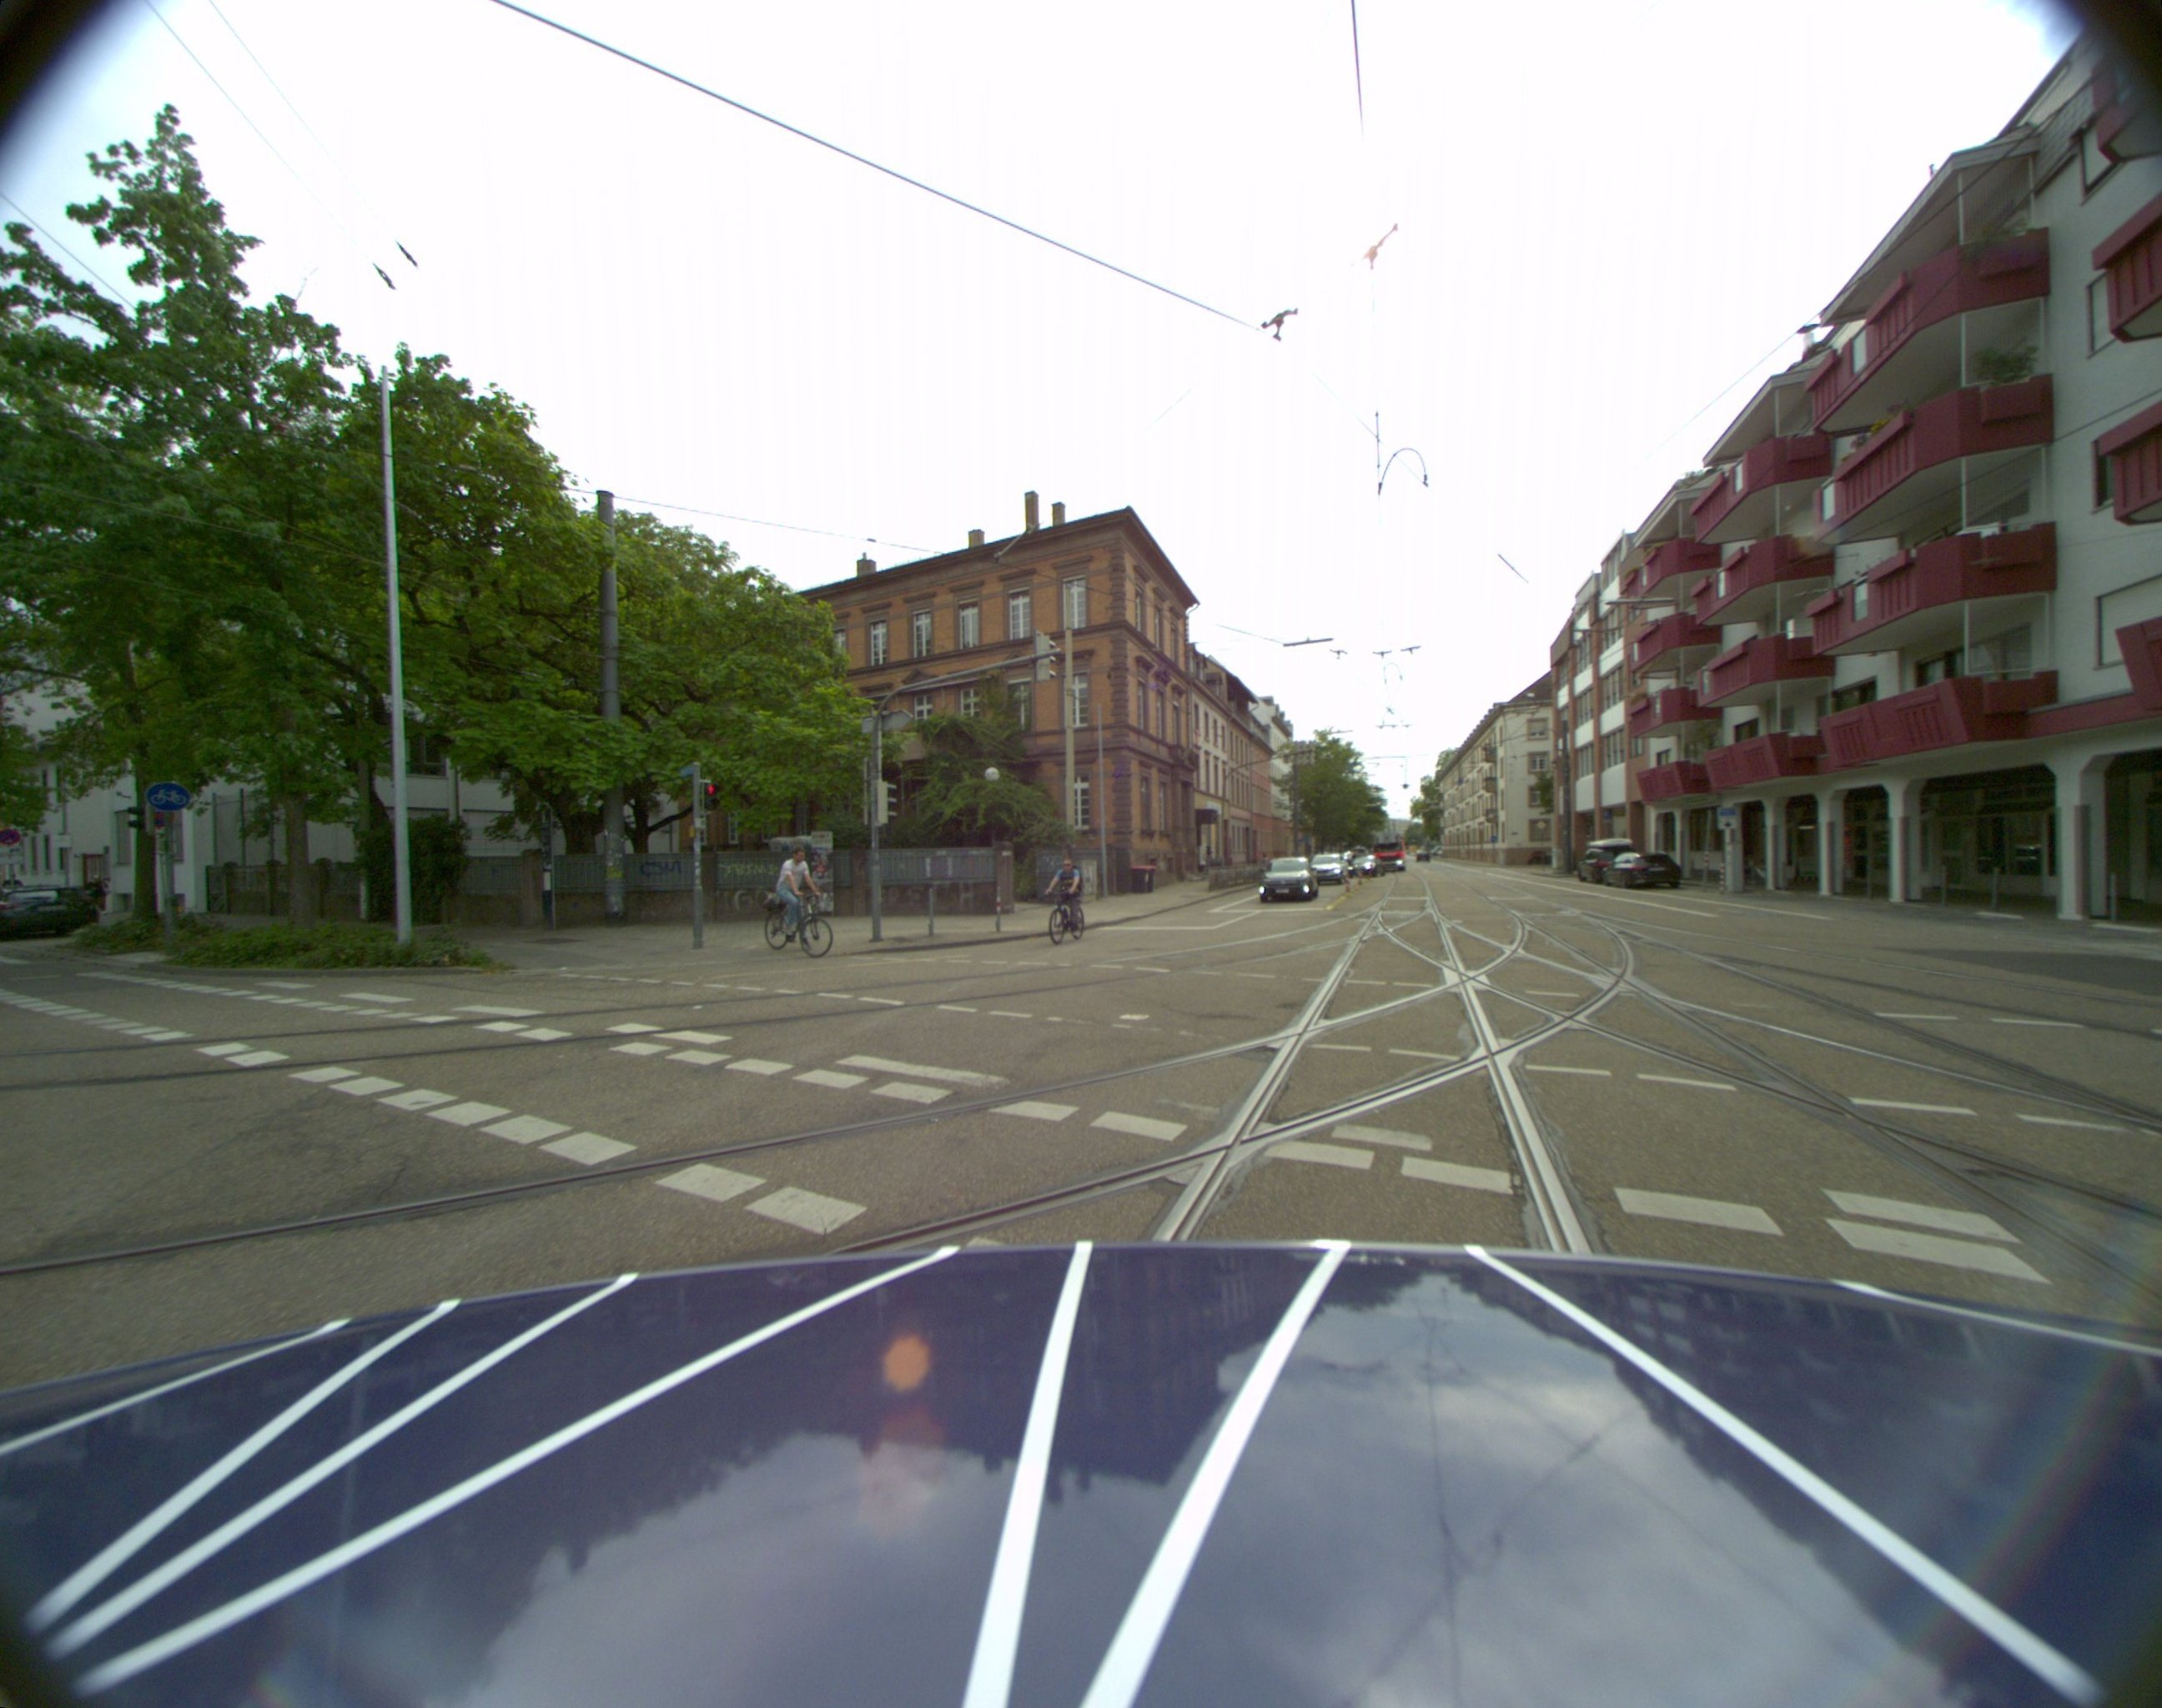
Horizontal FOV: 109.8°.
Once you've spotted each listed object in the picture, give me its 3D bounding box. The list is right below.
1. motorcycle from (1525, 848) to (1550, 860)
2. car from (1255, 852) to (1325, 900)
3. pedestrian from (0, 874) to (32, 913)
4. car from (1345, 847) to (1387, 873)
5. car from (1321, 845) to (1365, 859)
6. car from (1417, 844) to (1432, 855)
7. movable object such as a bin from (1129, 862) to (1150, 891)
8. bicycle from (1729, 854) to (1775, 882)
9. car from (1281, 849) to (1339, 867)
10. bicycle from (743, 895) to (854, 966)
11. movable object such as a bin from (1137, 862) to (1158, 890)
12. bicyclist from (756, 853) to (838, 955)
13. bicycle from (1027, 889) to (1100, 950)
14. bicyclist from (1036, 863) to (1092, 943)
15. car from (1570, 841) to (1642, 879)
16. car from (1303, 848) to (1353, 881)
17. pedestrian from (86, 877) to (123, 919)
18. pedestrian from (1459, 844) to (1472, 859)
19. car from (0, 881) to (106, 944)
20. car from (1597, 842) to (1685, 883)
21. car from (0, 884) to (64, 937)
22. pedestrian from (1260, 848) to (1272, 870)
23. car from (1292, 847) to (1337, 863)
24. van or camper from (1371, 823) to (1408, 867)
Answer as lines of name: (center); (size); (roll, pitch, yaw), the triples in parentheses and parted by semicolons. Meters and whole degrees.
motorcycle: (42.519, -0.043, 70.756); (1.921, 1.080, 0.794); (-1, 1, 23)
car: (7.711, 0.751, 27.715); (1.770, 1.538, 4.289); (-3, 0, 24)
pedestrian: (-50.582, 1.862, 36.088); (0.764, 1.771, 0.770); (-1, 1, 29)
car: (18.864, 0.357, 50.191); (1.770, 1.526, 4.056); (-3, 0, 33)
car: (31.420, -0.261, 91.285); (4.626, 1.688, 1.916); (0, 0, -1)
car: (47.286, -0.623, 104.732); (1.770, 1.528, 4.055); (-3, 0, 24)
movable object such as a bin: (2.372, 0.901, 30.584); (0.651, 1.076, 0.678); (3, 3, 19)
bicycle: (24.099, 0.504, 27.308); (0.565, 0.948, 1.652); (-1, 0, 16)
car: (20.074, 0.342, 66.708); (4.626, 1.464, 1.789); (0, 0, -1)
bicycle: (-5.124, 1.349, 13.749); (2.010, 1.080, 0.752); (1, 1, 29)
movable object such as a bin: (2.717, 0.886, 31.215); (0.664, 1.076, 0.702); (3, 3, 19)
bicyclist: (-5.137, 0.862, 13.739); (1.249, 1.751, 0.749); (1, 2, 28)
bicycle: (-0.311, 1.280, 15.081); (0.713, 1.012, 1.803); (-5, -1, 22)
bicyclist: (-0.321, 0.954, 15.104); (0.714, 1.498, 0.920); (-4, -1, 21)
car: (25.085, 0.237, 36.465); (1.808, 1.637, 4.705); (-3, -1, 22)
car: (13.332, 0.513, 40.825); (1.770, 1.581, 4.289); (-3, 0, 28)
pedestrian: (-39.916, 1.782, 31.062); (0.764, 1.641, 0.770); (-1, 1, 29)
pedestrian: (47.672, -0.361, 94.182); (1.001, 1.831, 1.019); (-1, 1, -4)
car: (-29.729, 1.598, 21.574); (4.409, 1.552, 1.740); (-1, 0, 28)
car: (22.839, 0.306, 31.162); (1.756, 1.471, 4.705); (-3, -1, 22)
car: (-34.134, 1.758, 23.979); (4.409, 1.527, 1.763); (-1, 0, 28)
pedestrian: (14.866, 0.375, 60.920); (0.731, 1.679, 0.928); (3, 2, 22)
car: (24.605, 0.134, 80.250); (4.237, 1.688, 1.739); (0, 1, -1)
van or camper: (25.837, -0.759, 63.699); (2.603, 3.401, 9.667); (-1, 0, 22)
